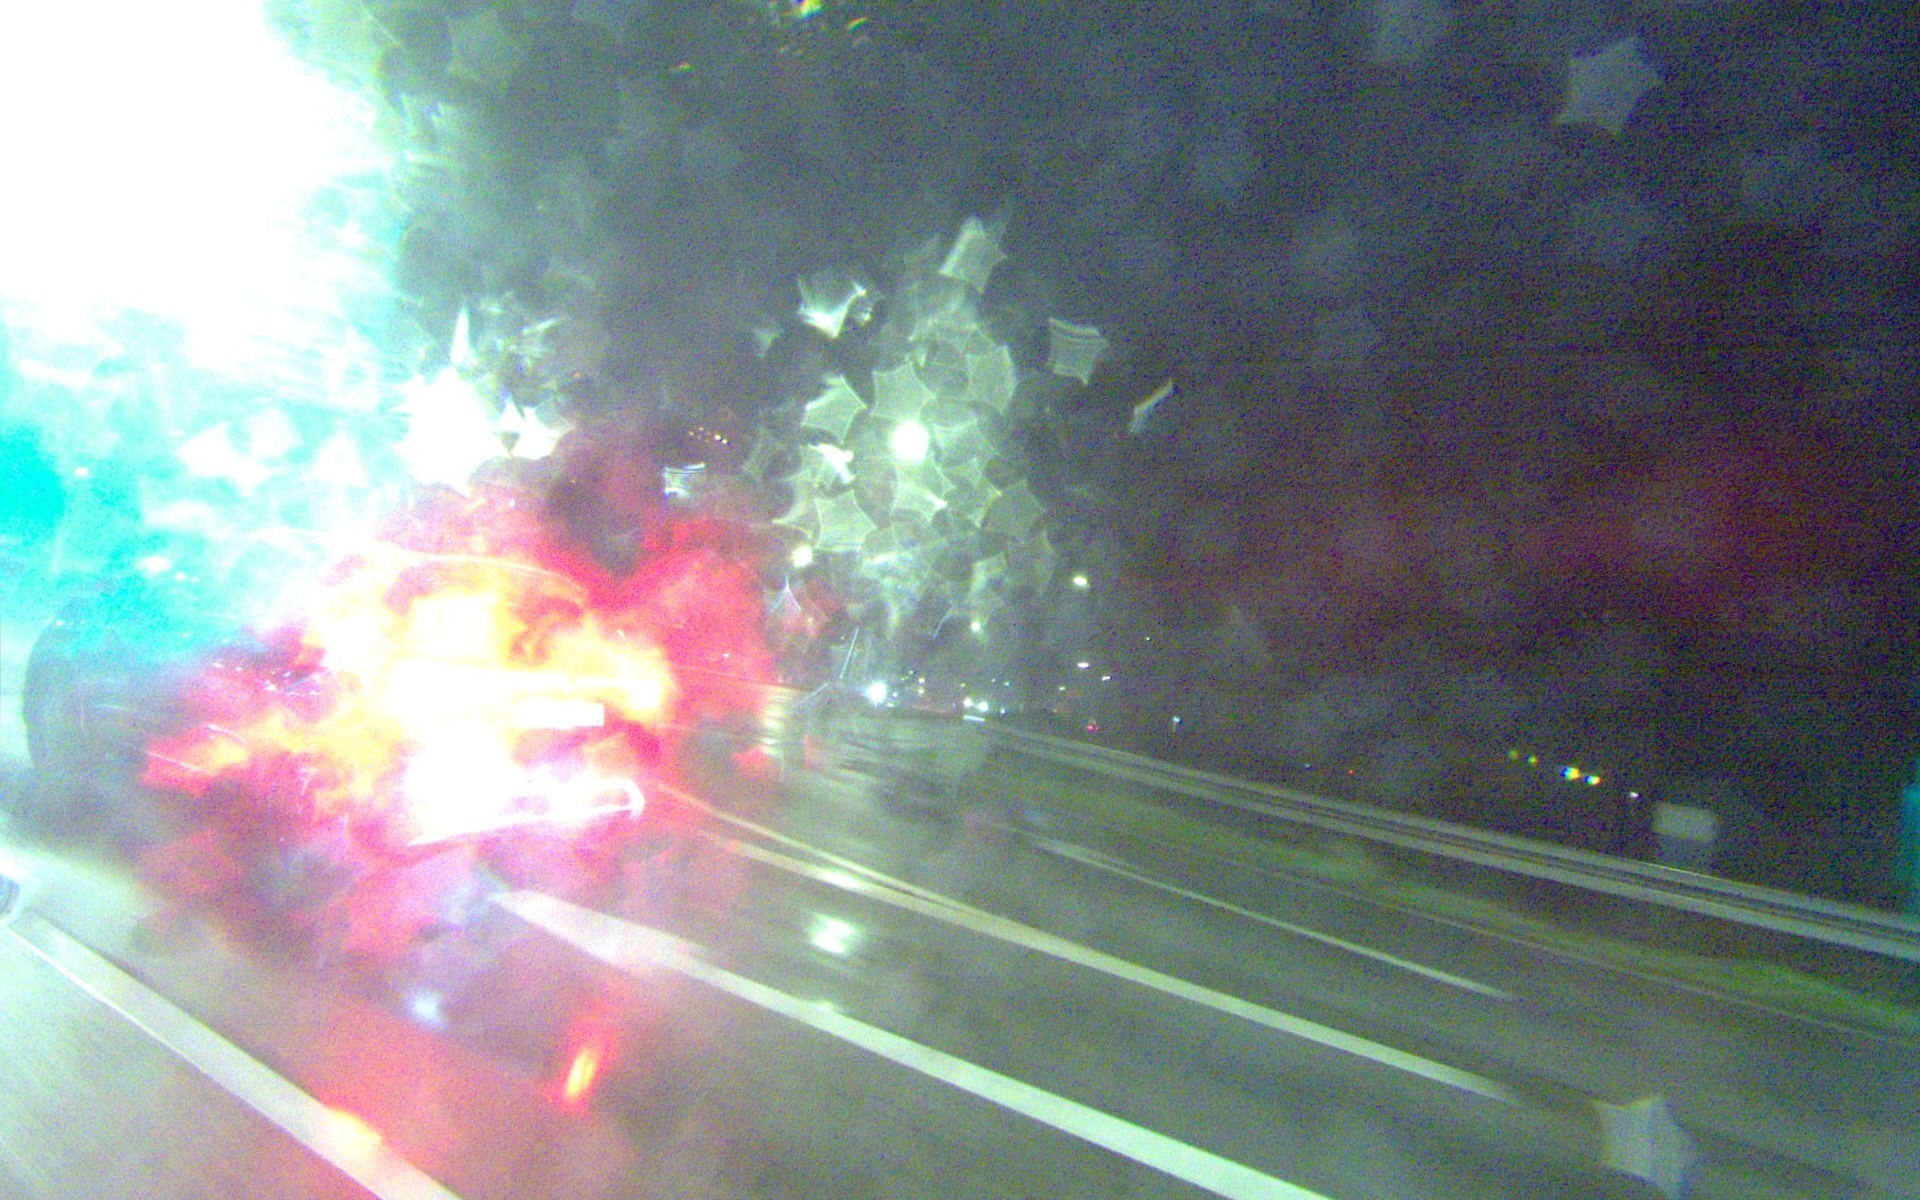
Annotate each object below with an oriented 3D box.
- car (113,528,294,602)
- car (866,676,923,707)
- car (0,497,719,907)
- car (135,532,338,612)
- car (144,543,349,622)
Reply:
[{"bbox_3d":[-24.518,-1.107,32.772,1.825,1.534,4.179,8,-4,29],"label":"car"},{"bbox_3d":[-4.518,6.343,69.833,1.795,1.657,4.000,8,-3,30],"label":"car"},{"bbox_3d":[-3.542,0.431,5.787,3.891,1.537,1.683,6,-4,28],"label":"car"},{"bbox_3d":[-21.825,-0.786,30.563,1.825,1.534,4.500,8,-4,29],"label":"car"},{"bbox_3d":[-19.206,-0.428,27.279,1.717,1.359,4.057,8,-4,29],"label":"car"}]
